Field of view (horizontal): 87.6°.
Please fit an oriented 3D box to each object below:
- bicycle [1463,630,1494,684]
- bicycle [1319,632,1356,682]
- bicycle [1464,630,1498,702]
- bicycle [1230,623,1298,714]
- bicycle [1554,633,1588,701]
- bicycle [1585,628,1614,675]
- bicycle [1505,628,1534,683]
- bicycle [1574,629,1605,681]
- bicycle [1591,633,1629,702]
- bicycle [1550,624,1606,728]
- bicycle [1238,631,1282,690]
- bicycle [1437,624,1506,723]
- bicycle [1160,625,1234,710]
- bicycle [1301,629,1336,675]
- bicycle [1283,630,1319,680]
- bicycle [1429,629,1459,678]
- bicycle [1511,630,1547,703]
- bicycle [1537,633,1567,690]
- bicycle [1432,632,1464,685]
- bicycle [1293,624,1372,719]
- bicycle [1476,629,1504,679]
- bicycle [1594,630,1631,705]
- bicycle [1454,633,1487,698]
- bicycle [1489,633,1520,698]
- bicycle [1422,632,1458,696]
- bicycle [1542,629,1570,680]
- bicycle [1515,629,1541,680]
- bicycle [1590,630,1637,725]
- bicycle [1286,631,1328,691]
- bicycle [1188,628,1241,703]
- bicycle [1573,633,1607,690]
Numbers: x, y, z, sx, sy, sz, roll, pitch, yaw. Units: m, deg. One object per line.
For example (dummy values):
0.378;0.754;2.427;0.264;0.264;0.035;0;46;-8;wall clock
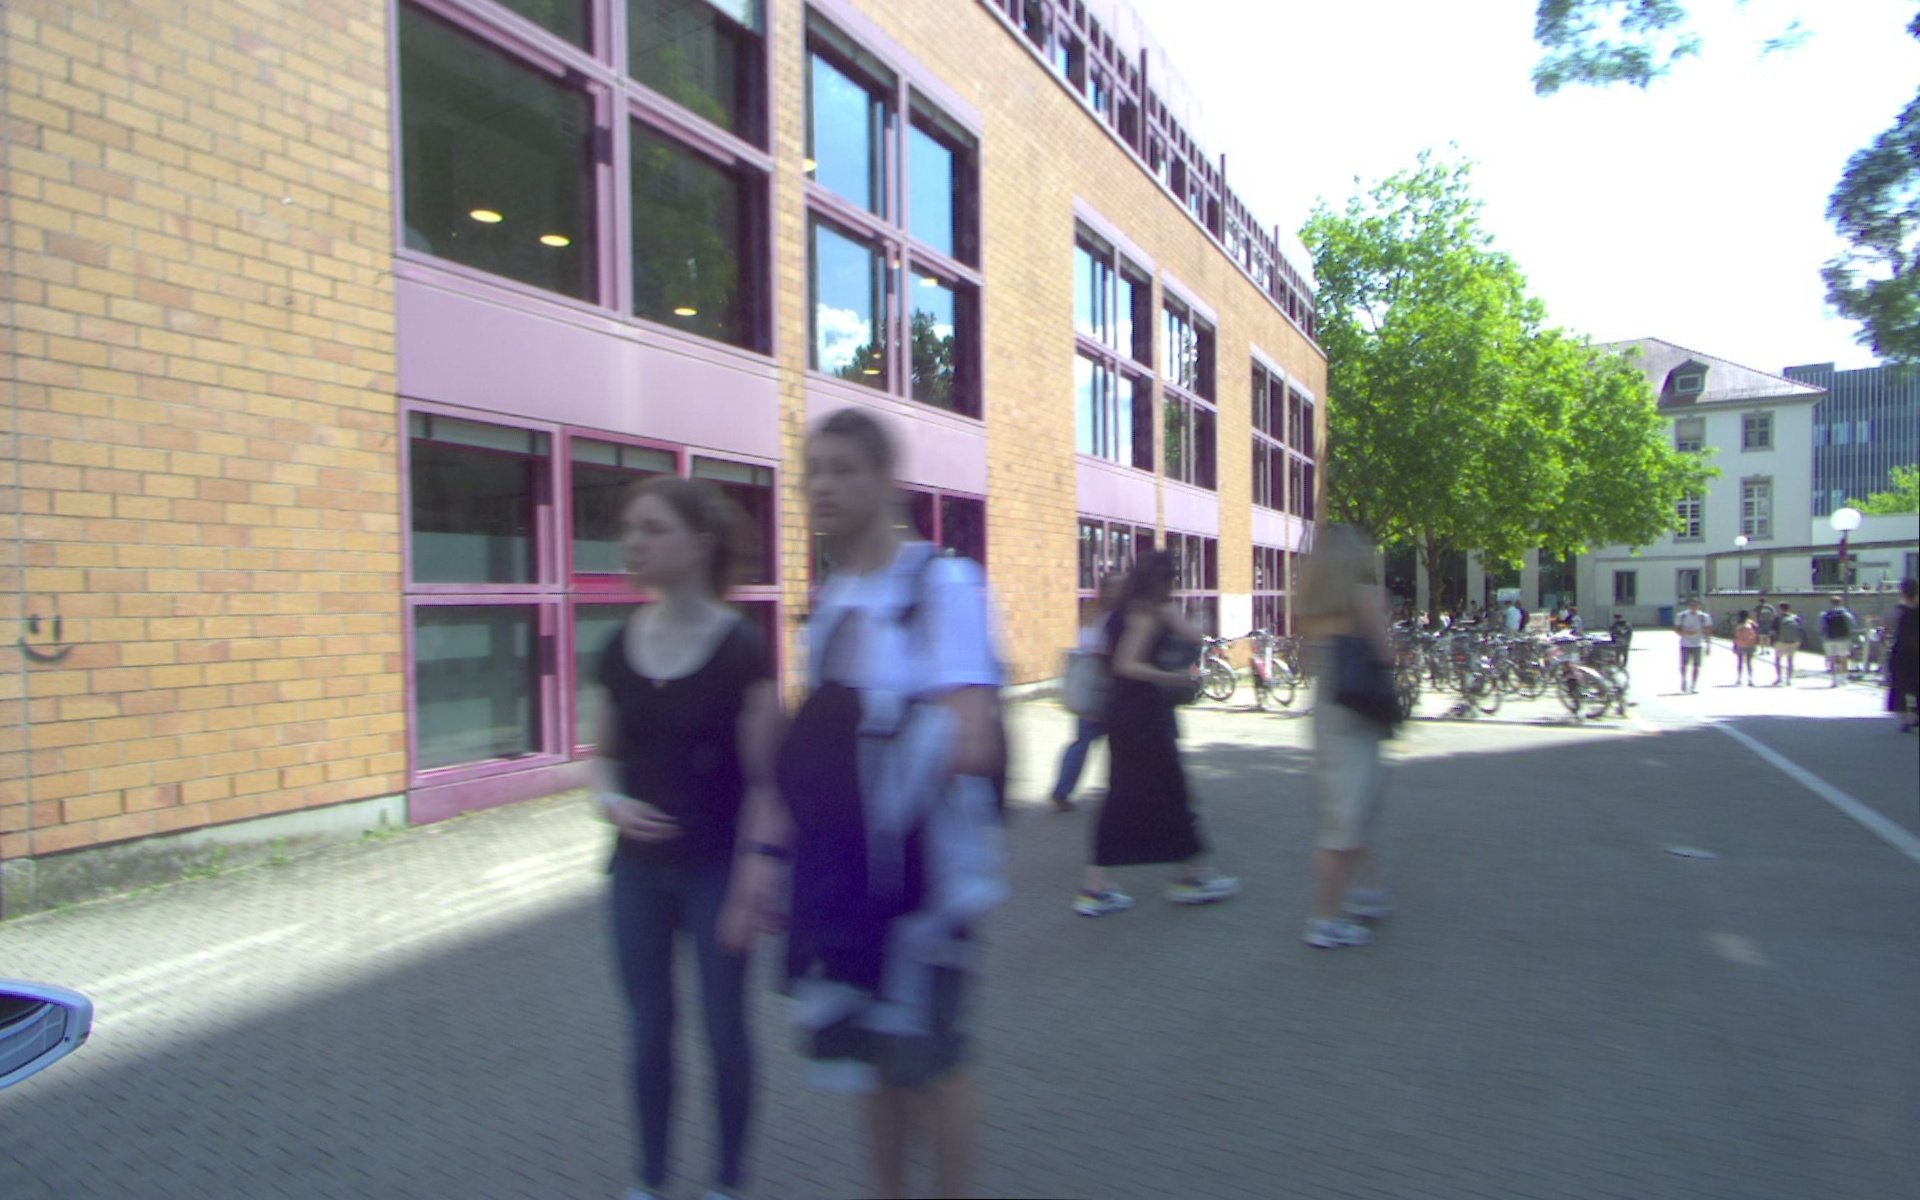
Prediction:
11.914;1.292;22.968;0.537;1.184;1.994;-1;-2;30;bicycle
9.270;1.371;24.571;0.537;1.184;1.994;-1;-2;30;bicycle
9.063;1.114;17.394;0.467;1.184;1.804;-1;-2;29;bicycle
4.062;0.875;13.322;0.515;1.124;1.808;-1;-1;28;bicycle
11.262;1.207;18.477;0.467;1.184;1.994;-1;-2;30;bicycle
16.839;1.341;26.402;0.537;1.184;1.994;-1;-2;30;bicycle
12.488;1.212;22.319;0.537;1.184;1.994;-1;-2;30;bicycle
14.971;1.285;23.838;0.537;1.184;1.994;-1;-2;30;bicycle
11.849;1.196;18.281;0.467;1.184;1.994;-1;-2;30;bicycle
7.198;0.842;11.637;0.468;1.124;1.690;-1;-1;34;bicycle
6.391;1.258;21.257;0.467;1.184;1.994;-1;-2;29;bicycle
6.320;0.858;12.325;0.517;1.124;1.804;-1;-1;35;bicycle
3.365;0.915;14.112;0.516;1.124;1.807;-1;-1;30;bicycle
9.575;1.371;26.712;0.537;1.184;1.994;-1;-2;30;bicycle
8.530;1.345;25.013;0.537;1.184;1.995;-1;-2;28;bicycle
12.201;1.326;25.208;0.537;1.184;1.994;-1;-2;30;bicycle
9.728;1.100;17.099;0.467;1.184;1.803;-1;-2;31;bicycle
12.918;1.312;21.882;0.537;1.184;1.994;-1;-2;30;bicycle
11.347;1.326;23.259;0.537;1.184;1.994;-1;-2;30;bicycle
4.765;0.873;12.752;0.516;1.124;1.805;-1;-1;34;bicycle
13.162;1.316;24.869;0.537;1.184;1.994;-1;-2;30;bicycle
10.800;1.083;16.564;0.468;1.184;1.802;-1;-2;34;bicycle
9.886;1.239;19.368;0.467;1.184;1.994;-1;-2;30;bicycle
10.357;1.213;19.032;0.467;1.184;1.994;-1;-2;30;bicycle
9.358;1.209;19.497;0.467;1.184;1.994;-1;-2;30;bicycle
14.321;1.291;24.088;0.537;1.184;1.994;-1;-2;30;bicycle
13.849;1.306;24.406;0.537;1.184;1.994;-1;-2;30;bicycle
8.486;0.963;12.977;0.468;1.124;1.801;-1;-1;34;bicycle
7.202;1.241;20.750;0.467;1.184;1.994;-1;-2;29;bicycle
4.075;1.015;15.958;0.466;1.124;1.806;-1;-1;25;bicycle
13.762;1.326;21.888;0.537;1.184;1.994;-1;-2;30;bicycle
